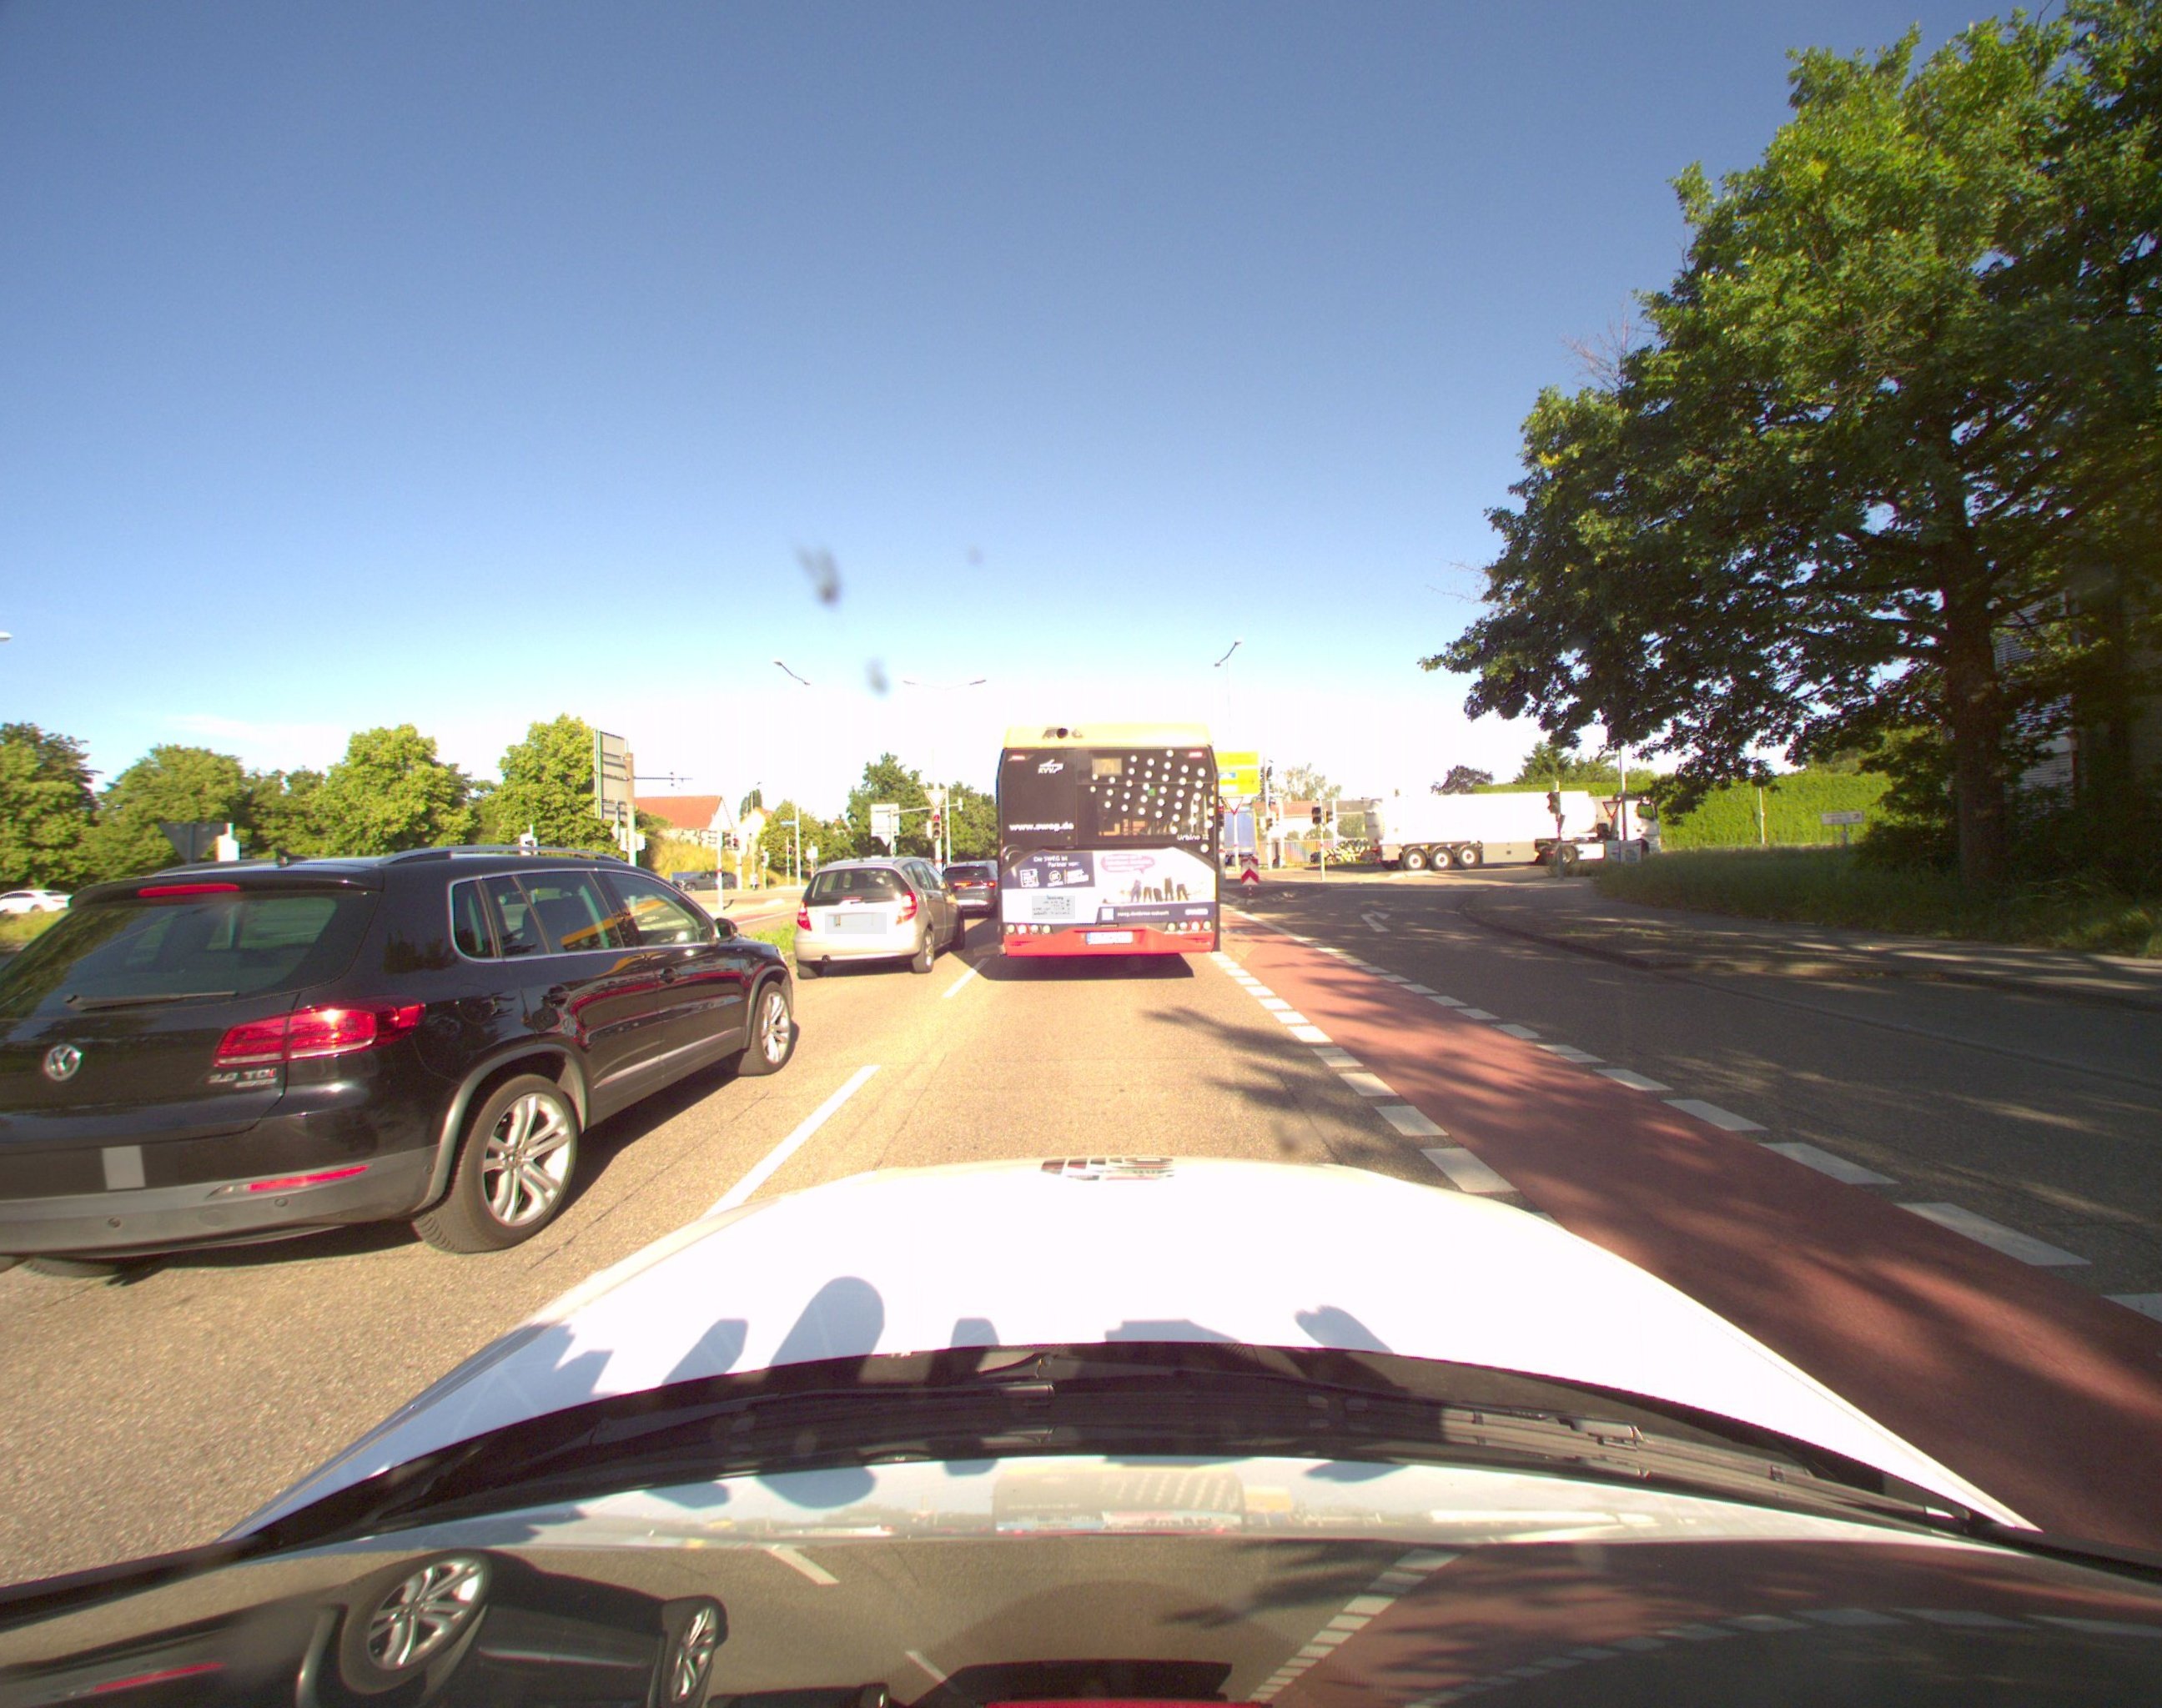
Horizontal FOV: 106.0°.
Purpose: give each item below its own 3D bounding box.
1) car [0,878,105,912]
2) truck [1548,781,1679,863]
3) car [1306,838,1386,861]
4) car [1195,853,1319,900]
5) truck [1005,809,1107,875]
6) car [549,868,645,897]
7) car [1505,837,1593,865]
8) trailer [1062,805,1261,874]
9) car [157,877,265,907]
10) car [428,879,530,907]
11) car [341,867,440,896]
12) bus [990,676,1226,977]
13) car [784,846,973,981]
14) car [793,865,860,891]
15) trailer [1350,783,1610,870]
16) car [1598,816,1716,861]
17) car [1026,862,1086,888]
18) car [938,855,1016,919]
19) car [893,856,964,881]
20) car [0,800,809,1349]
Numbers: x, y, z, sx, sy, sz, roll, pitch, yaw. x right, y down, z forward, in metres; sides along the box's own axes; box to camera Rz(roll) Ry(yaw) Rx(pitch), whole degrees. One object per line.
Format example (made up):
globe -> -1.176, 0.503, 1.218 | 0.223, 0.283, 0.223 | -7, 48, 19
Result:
car -> -56.840, 2.233, 44.365 | 4.522, 1.715, 1.995 | -1, -1, -7
truck -> 25.604, -1.488, 39.281 | 4.794, 3.695, 2.406 | -2, 0, -6
car -> 15.448, -0.247, 47.551 | 4.148, 1.302, 1.573 | -1, -1, -2
car -> 5.200, 0.651, 24.251 | 3.500, 1.302, 1.579 | -1, 1, 10
truck -> -1.666, -0.758, 52.924 | 6.387, 3.998, 2.468 | -2, 0, -5
car -> -24.673, 1.452, 41.650 | 3.842, 1.385, 1.678 | -1, -1, -7
car -> 24.512, -0.169, 42.729 | 3.843, 1.313, 1.504 | -2, -1, -7
trailer -> 5.180, -0.948, 53.545 | 12.712, 4.030, 2.466 | -2, 0, -5
car -> -51.631, 2.234, 48.384 | 3.983, 1.715, 1.995 | -1, -1, -7
car -> -30.109, 1.931, 40.796 | 3.842, 1.313, 1.504 | -1, -1, -7
car -> -39.068, 1.554, 46.149 | 3.980, 1.553, 1.693 | -1, -1, -5
bus -> 0.487, -0.303, 15.090 | 2.586, 3.334, 11.988 | -1, 0, 2
car -> -2.843, 0.740, 12.383 | 1.748, 1.620, 4.034 | -2, 1, 1
car -> -17.018, 1.593, 54.604 | 3.979, 1.612, 1.693 | -2, 0, -4
trailer -> 18.829, -1.276, 38.637 | 11.457, 3.696, 2.391 | -2, 0, -5
car -> 17.978, -0.463, 25.420 | 3.412, 1.296, 1.449 | 0, -1, -24
car -> -1.737, 1.434, 56.115 | 3.979, 1.612, 1.693 | -2, 0, -4
car -> -2.624, 0.811, 21.198 | 1.584, 1.486, 3.680 | -2, -1, -1
car -> -9.112, 0.856, 48.920 | 3.980, 1.442, 1.563 | -1, -1, -5
car -> -3.198, 0.749, 4.587 | 1.814, 1.673, 4.004 | -3, -1, 1
